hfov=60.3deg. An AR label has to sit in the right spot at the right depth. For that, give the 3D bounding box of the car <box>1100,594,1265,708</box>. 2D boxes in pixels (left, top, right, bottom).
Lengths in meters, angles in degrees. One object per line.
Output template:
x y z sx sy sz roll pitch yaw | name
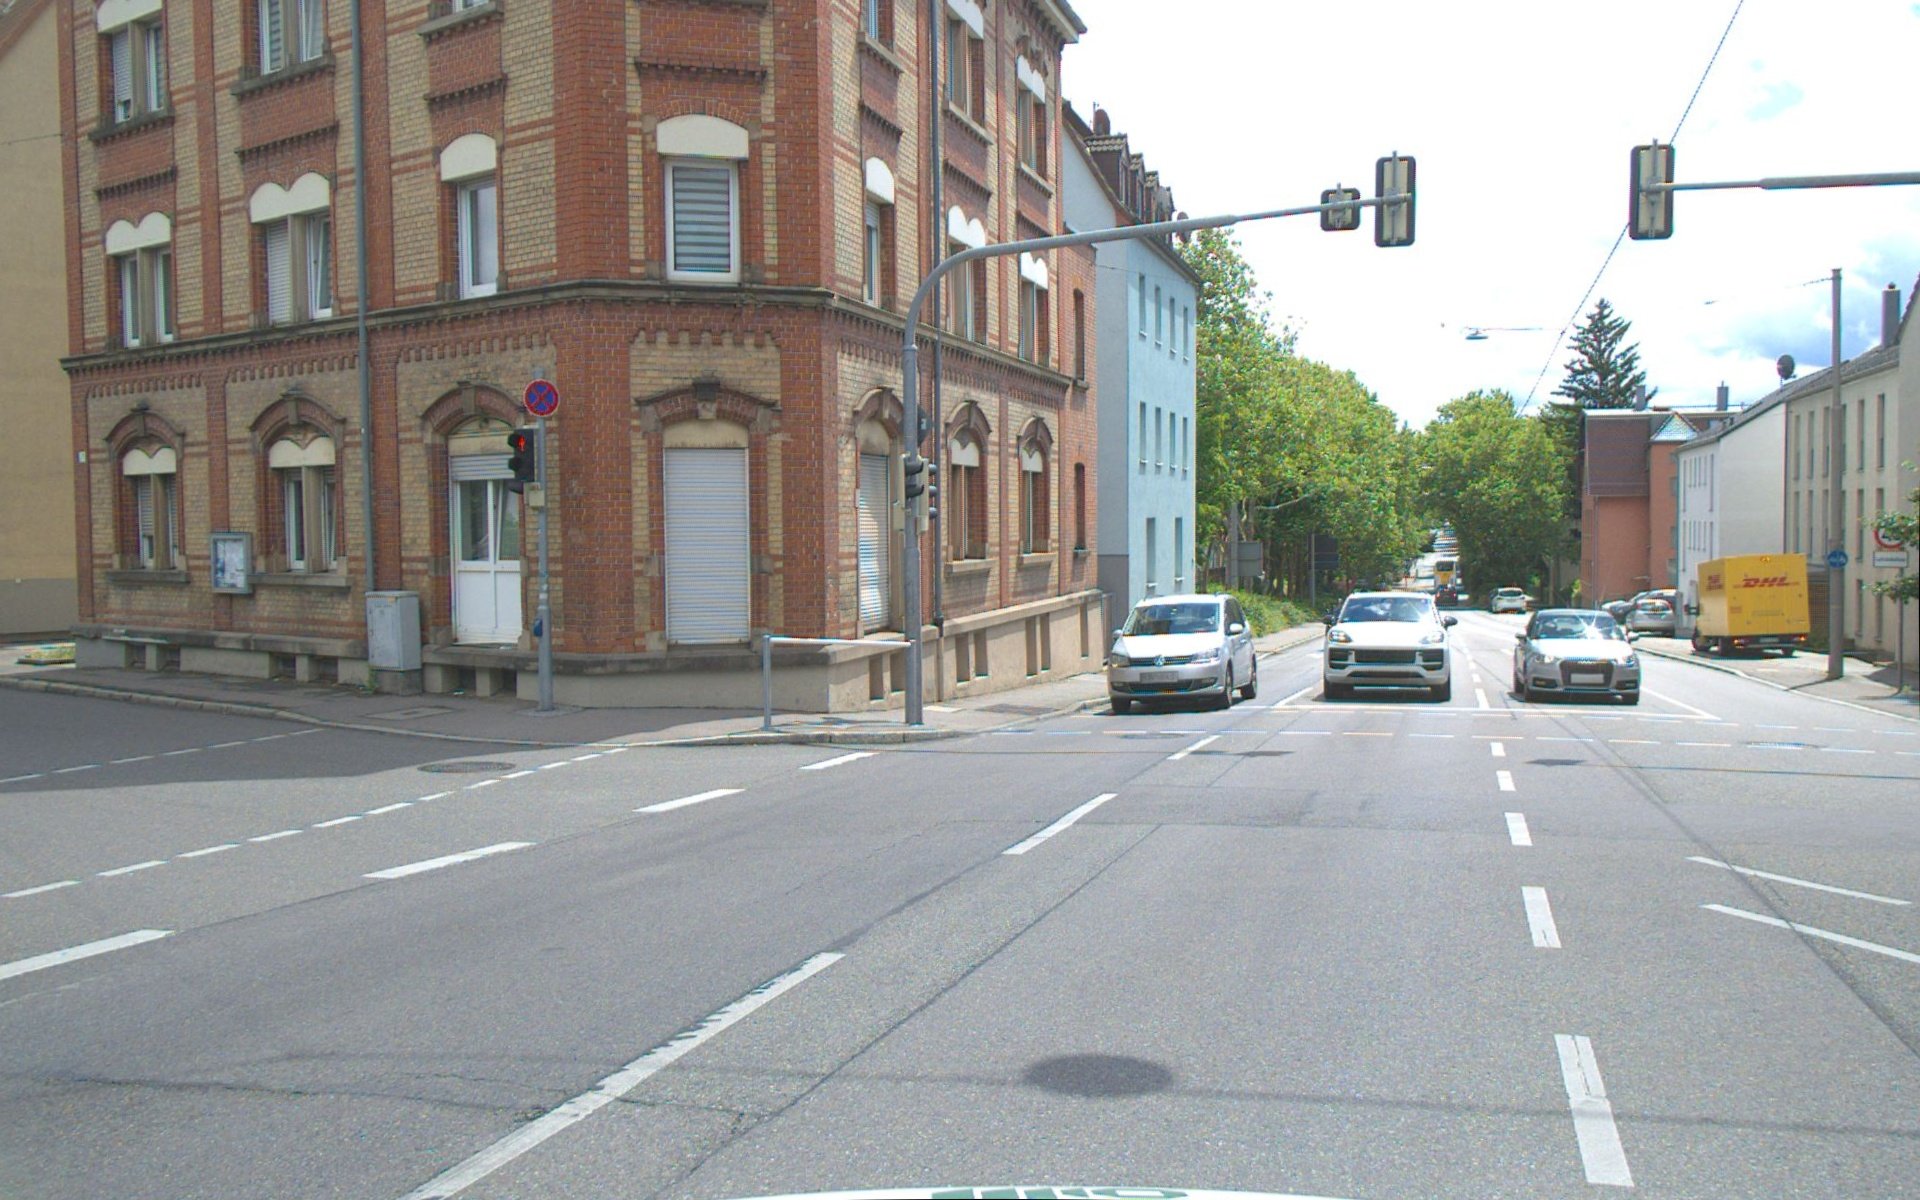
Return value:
3.533 0.716 25.582 1.895 1.590 4.392 0 0 16 | car

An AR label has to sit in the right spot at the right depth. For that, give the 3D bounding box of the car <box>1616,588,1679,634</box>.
28.913 0.428 69.635 1.869 1.848 4.003 0 0 14 | car

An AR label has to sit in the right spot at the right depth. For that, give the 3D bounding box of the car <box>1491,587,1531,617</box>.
35.329 0.118 106.074 2.047 1.862 4.146 0 0 13 | car

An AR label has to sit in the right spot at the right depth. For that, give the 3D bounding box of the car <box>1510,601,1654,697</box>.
9.989 0.728 26.829 1.825 1.391 4.550 0 0 16 | car

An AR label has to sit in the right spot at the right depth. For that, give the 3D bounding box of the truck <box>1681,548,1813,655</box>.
23.415 0.036 49.517 2.487 2.964 6.576 1 0 16 | truck

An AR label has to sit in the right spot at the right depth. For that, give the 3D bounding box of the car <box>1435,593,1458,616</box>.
40.159 0.342 136.639 1.781 1.816 4.003 0 0 16 | car

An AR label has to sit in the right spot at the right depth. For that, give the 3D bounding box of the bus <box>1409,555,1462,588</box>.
56.541 -3.333 196.813 3.232 3.694 11.246 -1 0 1 | bus

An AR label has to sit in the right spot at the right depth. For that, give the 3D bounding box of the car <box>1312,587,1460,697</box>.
7.065 0.621 27.210 2.160 1.641 4.550 0 0 16 | car
